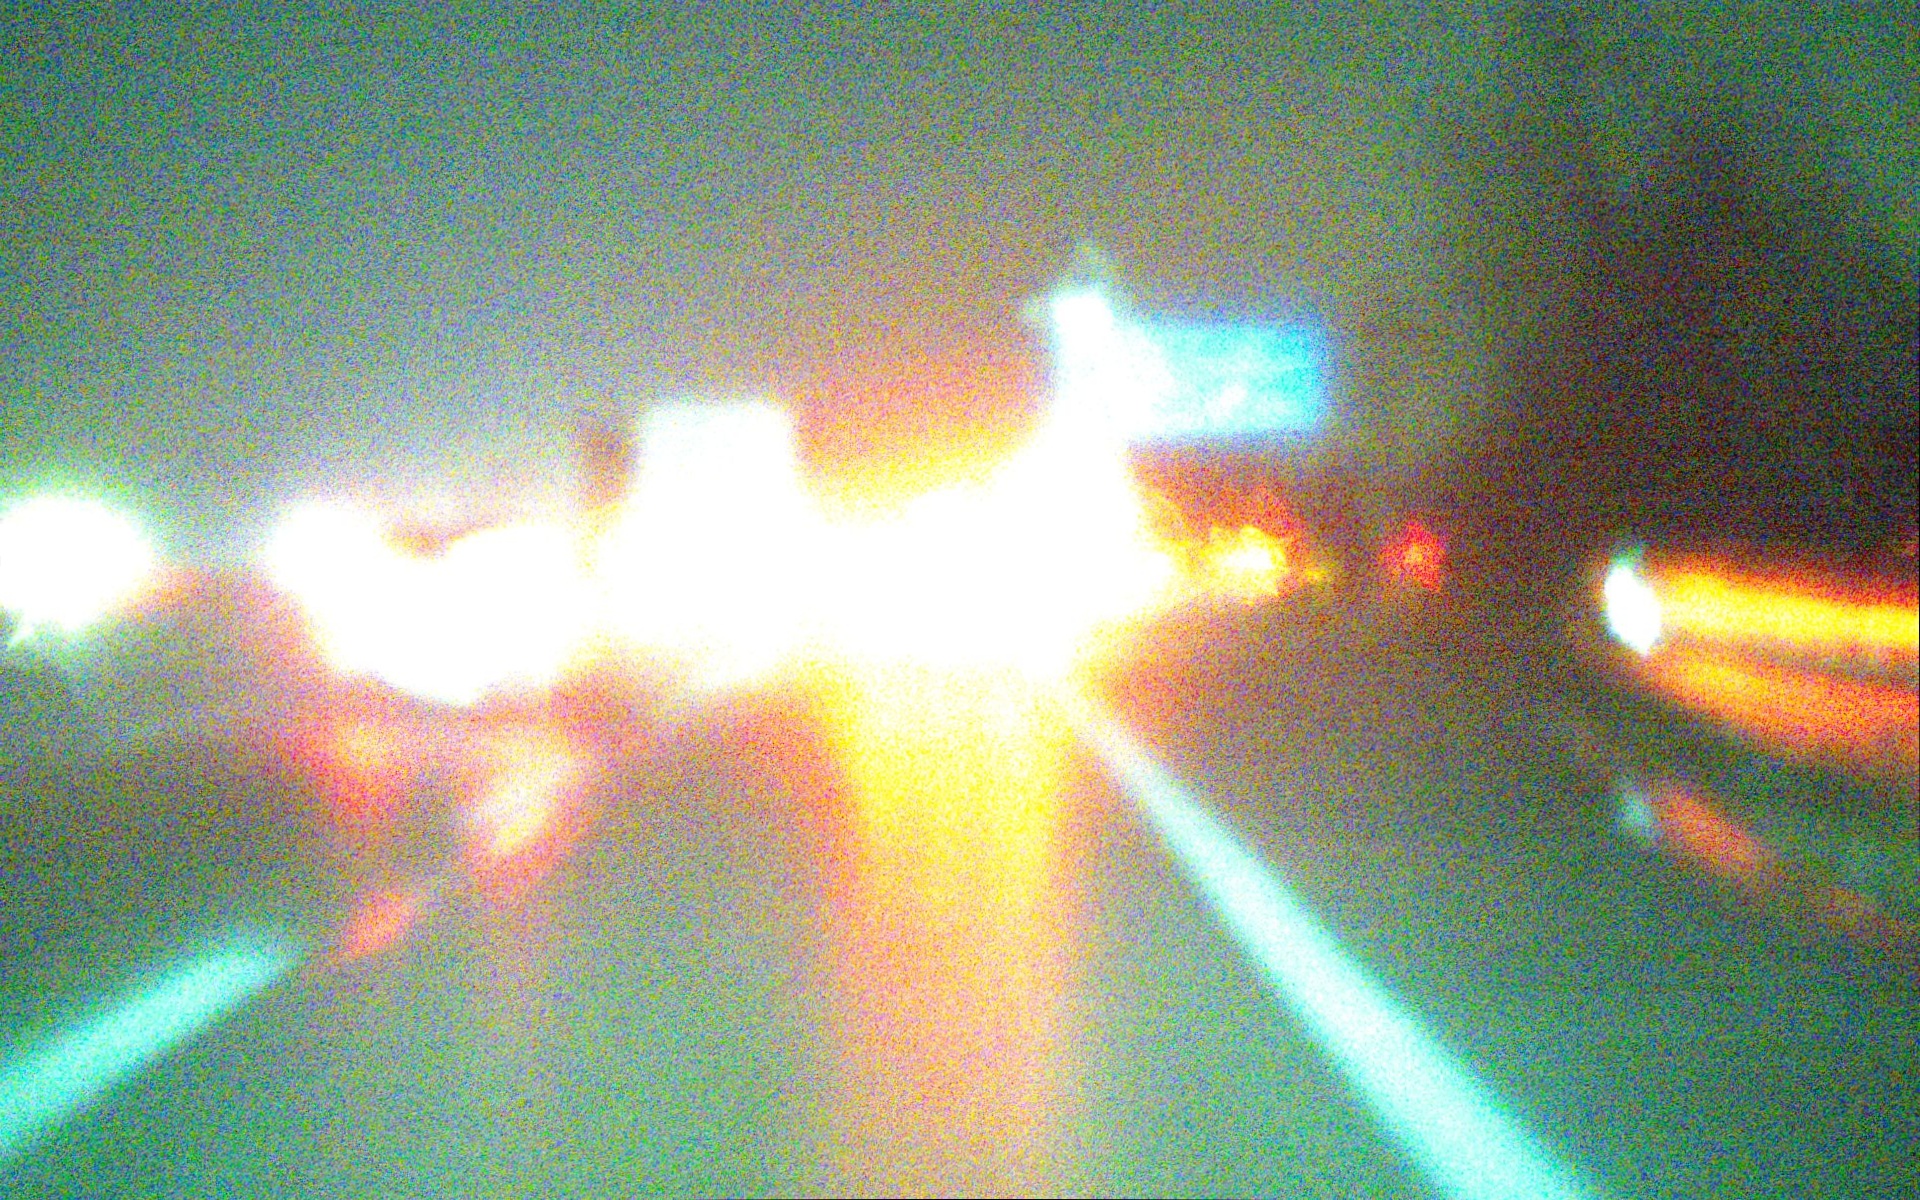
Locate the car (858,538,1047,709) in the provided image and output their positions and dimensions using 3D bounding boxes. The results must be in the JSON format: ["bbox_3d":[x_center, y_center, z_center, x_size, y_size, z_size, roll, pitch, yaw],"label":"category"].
[{"bbox_3d":[-0.094,0.226,38.809,1.993,1.801,4.000,1,1,0],"label":"car"}]

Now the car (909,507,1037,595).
[{"bbox_3d":[0.244,-1.061,73.964,1.993,1.801,4.001,1,1,-11],"label":"car"}]

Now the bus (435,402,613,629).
[{"bbox_3d":[-9.302,-1.773,74.461,3.096,4.492,10.915,1,1,-4],"label":"bus"}]

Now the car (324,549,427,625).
[{"bbox_3d":[-12.737,-0.302,75.124,1.993,1.590,4.001,1,1,-7],"label":"car"}]

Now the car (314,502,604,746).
[{"bbox_3d":[-4.437,0.175,31.147,2.126,2.007,4.646,1,1,-3],"label":"car"}]

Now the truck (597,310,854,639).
[{"bbox_3d":[-4.243,-2.246,65.430,4.210,5.629,11.468,1,1,-1],"label":"truck"}]
